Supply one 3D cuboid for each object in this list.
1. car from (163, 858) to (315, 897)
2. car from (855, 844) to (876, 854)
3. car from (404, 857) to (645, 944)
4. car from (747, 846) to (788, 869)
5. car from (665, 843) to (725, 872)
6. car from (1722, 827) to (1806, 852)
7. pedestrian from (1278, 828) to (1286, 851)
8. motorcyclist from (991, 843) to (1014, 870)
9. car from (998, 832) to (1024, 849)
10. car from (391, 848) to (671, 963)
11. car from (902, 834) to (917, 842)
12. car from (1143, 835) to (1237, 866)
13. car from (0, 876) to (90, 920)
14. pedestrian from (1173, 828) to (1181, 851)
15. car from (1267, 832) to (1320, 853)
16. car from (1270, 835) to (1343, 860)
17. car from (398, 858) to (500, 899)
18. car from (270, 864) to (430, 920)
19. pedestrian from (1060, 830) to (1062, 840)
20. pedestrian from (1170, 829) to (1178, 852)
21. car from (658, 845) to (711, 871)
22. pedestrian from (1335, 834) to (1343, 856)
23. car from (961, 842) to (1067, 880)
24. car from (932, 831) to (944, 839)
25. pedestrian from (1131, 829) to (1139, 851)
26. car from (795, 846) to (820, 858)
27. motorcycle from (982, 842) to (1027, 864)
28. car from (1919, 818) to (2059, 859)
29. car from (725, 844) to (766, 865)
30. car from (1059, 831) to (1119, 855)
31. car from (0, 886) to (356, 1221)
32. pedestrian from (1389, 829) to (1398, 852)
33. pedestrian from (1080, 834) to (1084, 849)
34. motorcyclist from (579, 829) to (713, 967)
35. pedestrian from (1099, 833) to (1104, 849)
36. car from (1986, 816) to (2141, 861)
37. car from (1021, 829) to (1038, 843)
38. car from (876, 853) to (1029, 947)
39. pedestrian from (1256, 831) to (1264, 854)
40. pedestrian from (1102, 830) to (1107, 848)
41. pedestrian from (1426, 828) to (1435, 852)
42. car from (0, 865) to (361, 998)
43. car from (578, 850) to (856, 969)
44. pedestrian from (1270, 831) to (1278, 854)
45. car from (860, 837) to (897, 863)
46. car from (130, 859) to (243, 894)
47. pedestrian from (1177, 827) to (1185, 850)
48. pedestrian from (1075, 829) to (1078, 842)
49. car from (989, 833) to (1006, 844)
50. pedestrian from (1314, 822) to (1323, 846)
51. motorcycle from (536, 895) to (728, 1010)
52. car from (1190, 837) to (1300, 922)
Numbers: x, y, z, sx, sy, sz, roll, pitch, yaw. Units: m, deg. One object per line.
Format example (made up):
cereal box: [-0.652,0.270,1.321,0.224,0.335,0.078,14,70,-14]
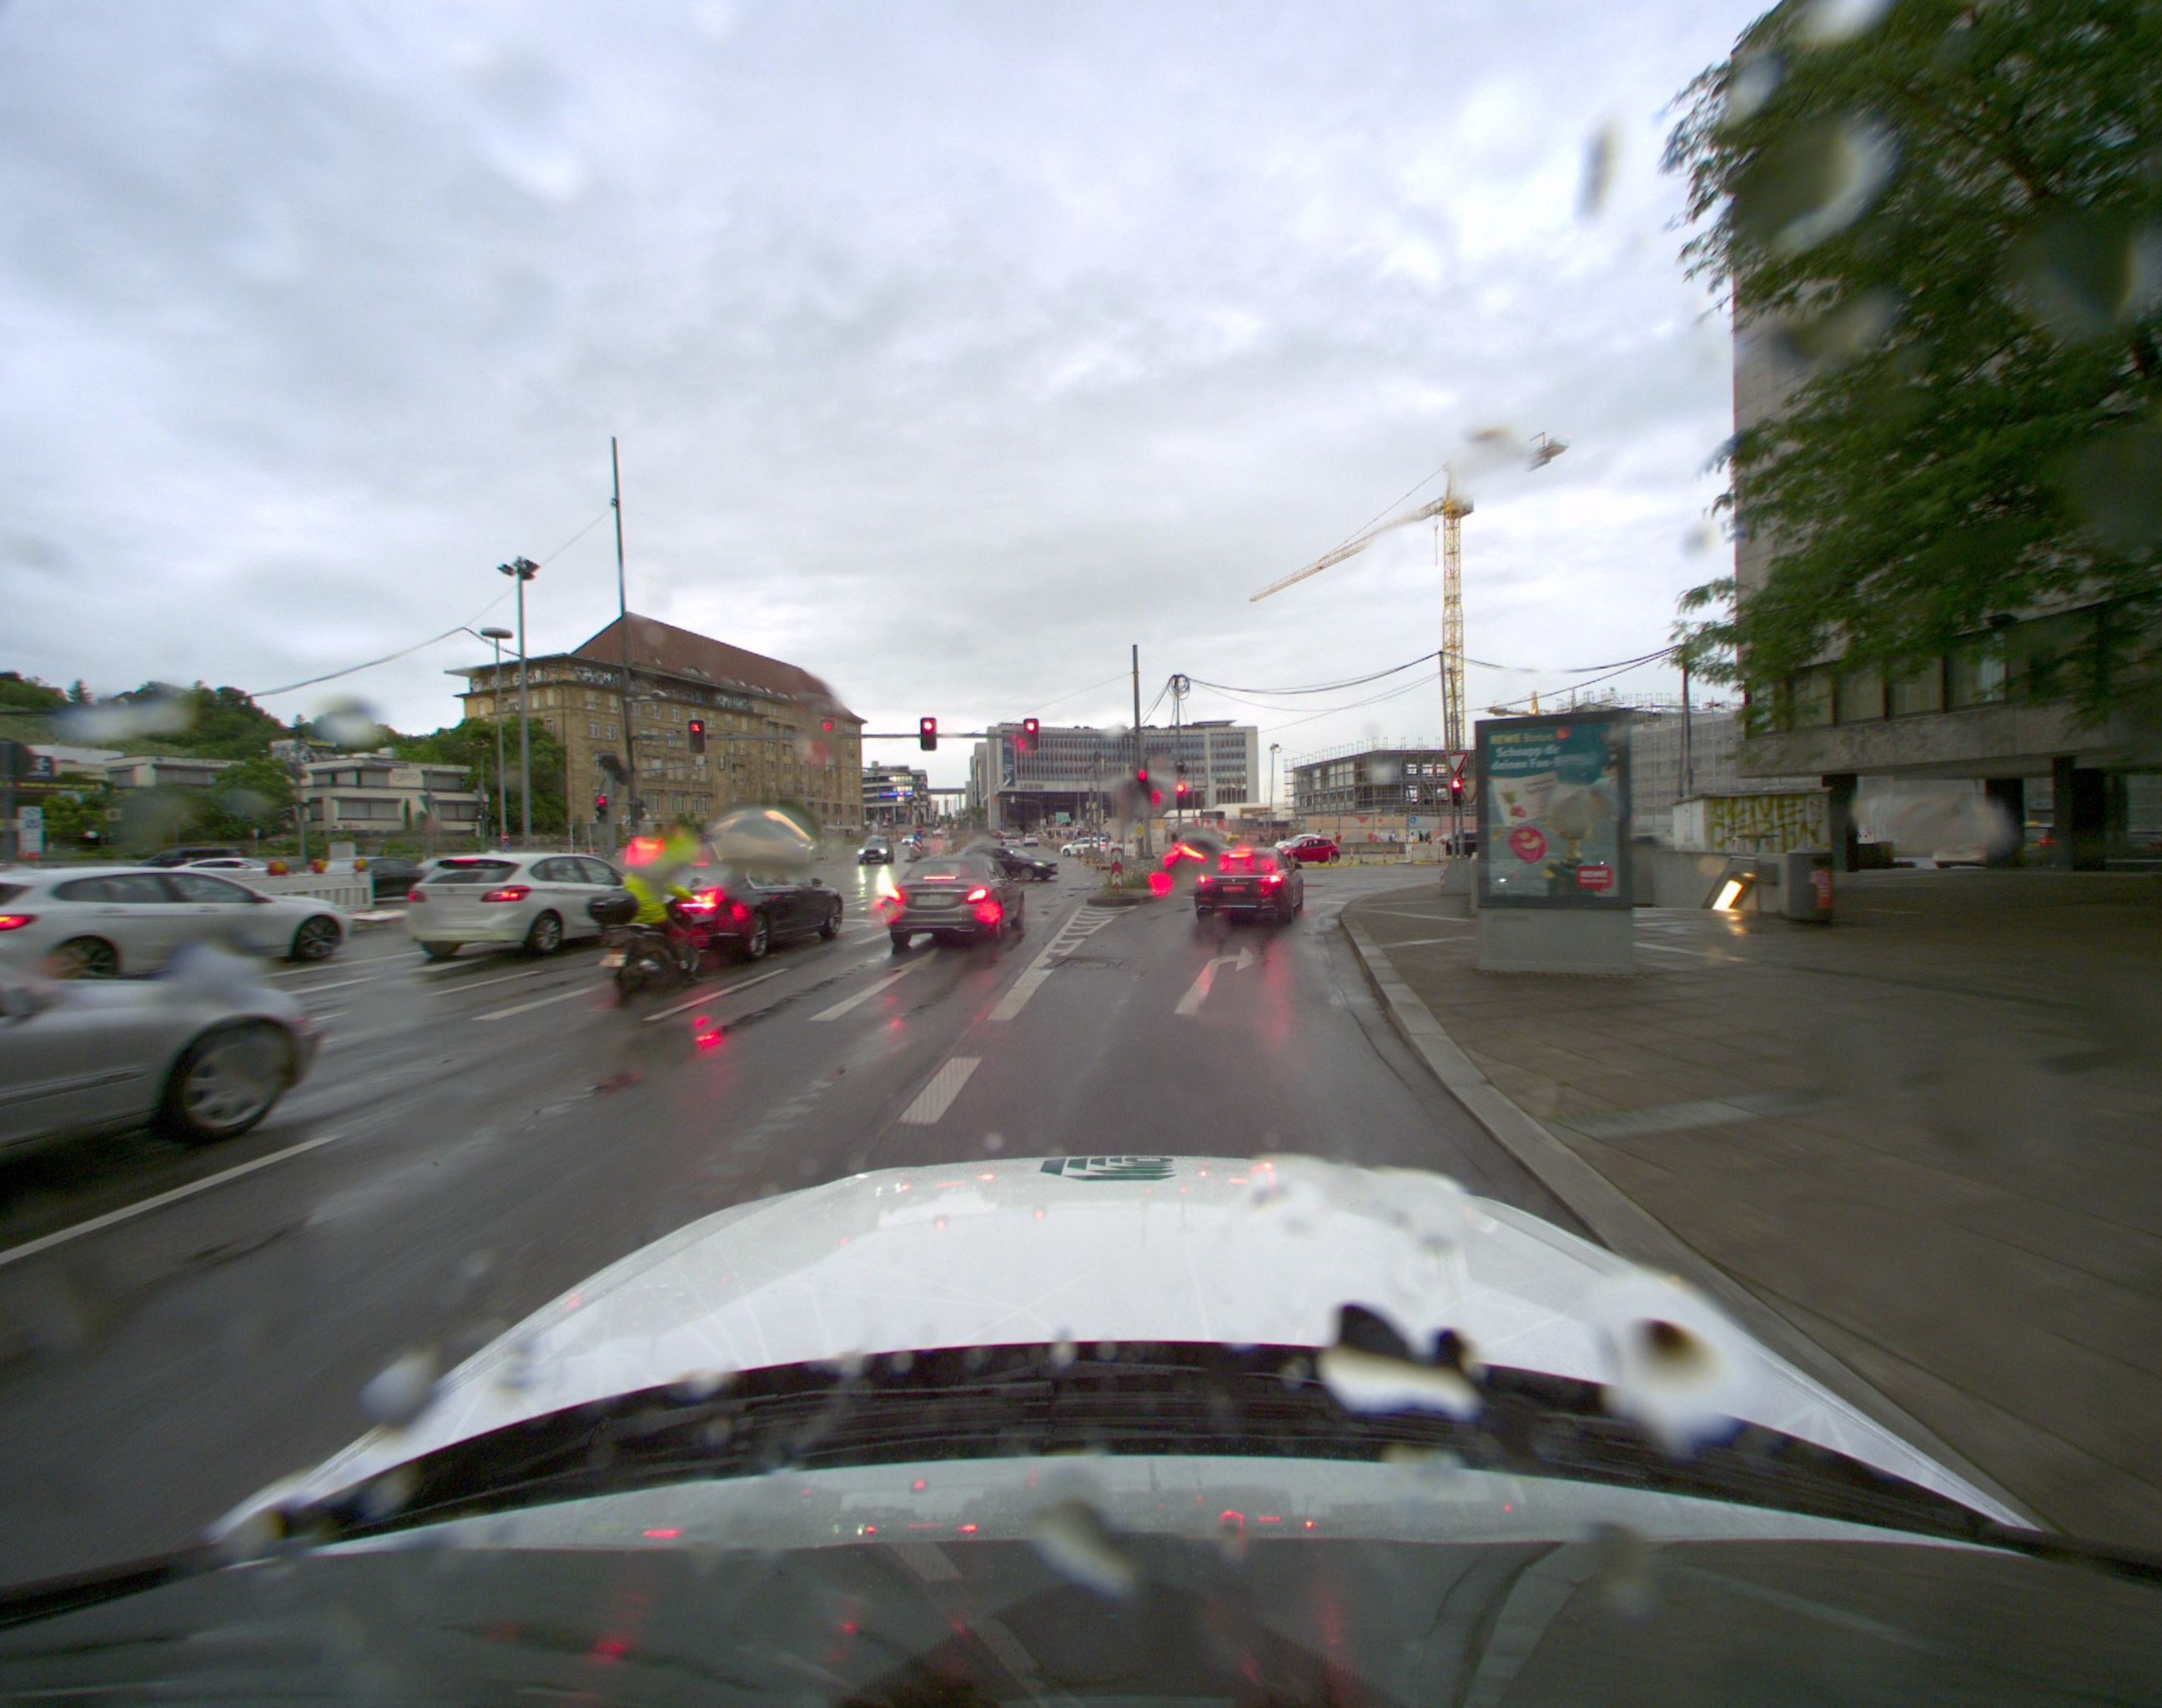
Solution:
car: [-38.516,1.053,37.408,4.395,1.662,1.987,0,0,-20]
car: [-27.476,-0.665,103.868,1.763,1.260,4.189,0,0,-3]
car: [-11.552,0.883,17.289,1.771,1.599,4.087,-1,0,13]
car: [-22.588,0.238,58.822,1.695,1.574,3.993,0,0,-5]
car: [-22.125,0.186,46.888,1.799,1.574,4.067,0,0,-5]
car: [43.743,-0.927,52.208,4.040,1.552,1.993,0,0,-10]
pedestrian: [16.419,-1.185,66.521,0.572,1.898,0.362,-1,-1,2]
motorcyclist: [-4.007,0.111,41.748,0.938,1.358,0.852,-1,0,12]
car: [-7.352,-1.400,85.100,1.997,1.640,3.980,0,0,-15]
car: [-8.775,0.732,13.486,1.725,1.616,4.004,-1,0,4]
car: [-26.819,-2.496,127.399,1.763,1.260,3.996,0,0,-3]
car: [4.911,-0.143,37.217,4.083,1.345,2.001,-1,0,2]
car: [-40.661,1.657,30.740,3.986,1.596,1.670,0,0,-9]
pedestrian: [8.092,-1.251,68.629,0.364,1.898,0.570,-2,0,-37]
car: [15.270,-0.835,58.689,3.529,1.473,1.790,-1,0,6]
car: [12.461,-0.347,45.052,3.533,1.304,1.661,0,0,-10]
car: [-26.757,0.992,34.636,1.696,1.519,3.680,-3,0,-6]
car: [-23.225,1.141,26.079,1.694,1.519,3.870,-3,0,-3]
pedestrian: [-3.591,-3.448,147.404,0.361,1.898,0.575,0,-1,-8]
pedestrian: [7.796,-1.109,68.311,0.364,1.898,0.570,0,-1,-39]
car: [-25.171,0.232,51.793,1.695,1.574,3.993,0,0,-5]
pedestrian: [21.495,-0.745,67.882,0.572,1.898,0.363,-1,-1,5]
car: [-2.833,0.308,34.475,4.059,1.506,2.013,-1,0,32]
car: [-34.766,-4.530,198.058,2.002,1.816,3.969,0,0,-23]
pedestrian: [4.799,-1.242,72.261,0.364,1.898,0.570,0,-1,-37]
car: [-29.729,-0.161,88.581,1.734,1.260,3.324,0,0,-5]
motorcycle: [-3.906,-0.051,41.723,2.121,1.108,0.854,-1,0,12]
car: [37.495,-0.613,33.689,3.984,1.640,1.995,0,0,-8]
car: [-25.275,0.030,61.460,1.694,1.519,3.550,-3,0,-3]
car: [0.610,-0.804,63.323,4.361,1.766,2.013,-1,0,37]
car: [-5.612,0.909,3.091,1.726,1.404,4.384,-1,0,1]
pedestrian: [25.351,-1.084,66.148,0.573,1.898,0.362,0,-1,-2]
pedestrian: [0.109,-1.604,104.103,0.361,1.898,0.575,0,-1,-8]
motorcyclist: [-4.922,0.474,9.299,0.939,1.475,1.099,0,0,-2]
pedestrian: [2.343,-1.481,92.761,0.361,1.898,0.574,0,-1,-12]
car: [37.484,-0.573,31.122,3.984,1.640,1.995,0,0,-8]
car: [-6.580,-2.346,104.282,1.729,1.639,3.421,0,3,-12]
car: [-2.104,0.709,14.621,1.775,1.402,4.490,-1,0,3]
pedestrian: [14.962,-0.955,68.073,0.569,1.898,0.364,-1,-1,23]
pedestrian: [2.464,-1.540,84.741,0.362,1.898,0.573,0,-1,-16]
pedestrian: [28.189,-1.110,65.722,0.573,1.898,0.362,0,-1,-2]
car: [-12.191,0.854,10.690,1.775,1.373,3.997,-1,0,4]
car: [-5.352,0.723,12.900,1.879,1.515,5.007,-1,0,4]
pedestrian: [16.033,-0.952,67.698,0.572,1.898,0.362,-1,-1,1]
car: [-14.376,-0.257,57.940,1.992,1.797,5.088,0,0,-8]
car: [-55.103,1.355,50.290,4.229,2.014,1.985,0,0,-23]
pedestrian: [8.459,-1.288,68.864,0.364,1.898,0.570,0,-1,-39]
pedestrian: [-0.679,-2.671,117.657,0.361,1.898,0.575,0,-1,-8]
car: [-17.200,-3.174,167.817,2.005,2.014,3.963,0,0,-28]
pedestrian: [19.196,-1.605,65.819,0.572,1.898,0.363,-1,-1,5]
motorcycle: [-4.917,1.029,9.167,0.939,0.989,2.293,0,0,-2]
car: [3.541,0.475,17.011,1.876,1.544,4.011,-1,0,17]
